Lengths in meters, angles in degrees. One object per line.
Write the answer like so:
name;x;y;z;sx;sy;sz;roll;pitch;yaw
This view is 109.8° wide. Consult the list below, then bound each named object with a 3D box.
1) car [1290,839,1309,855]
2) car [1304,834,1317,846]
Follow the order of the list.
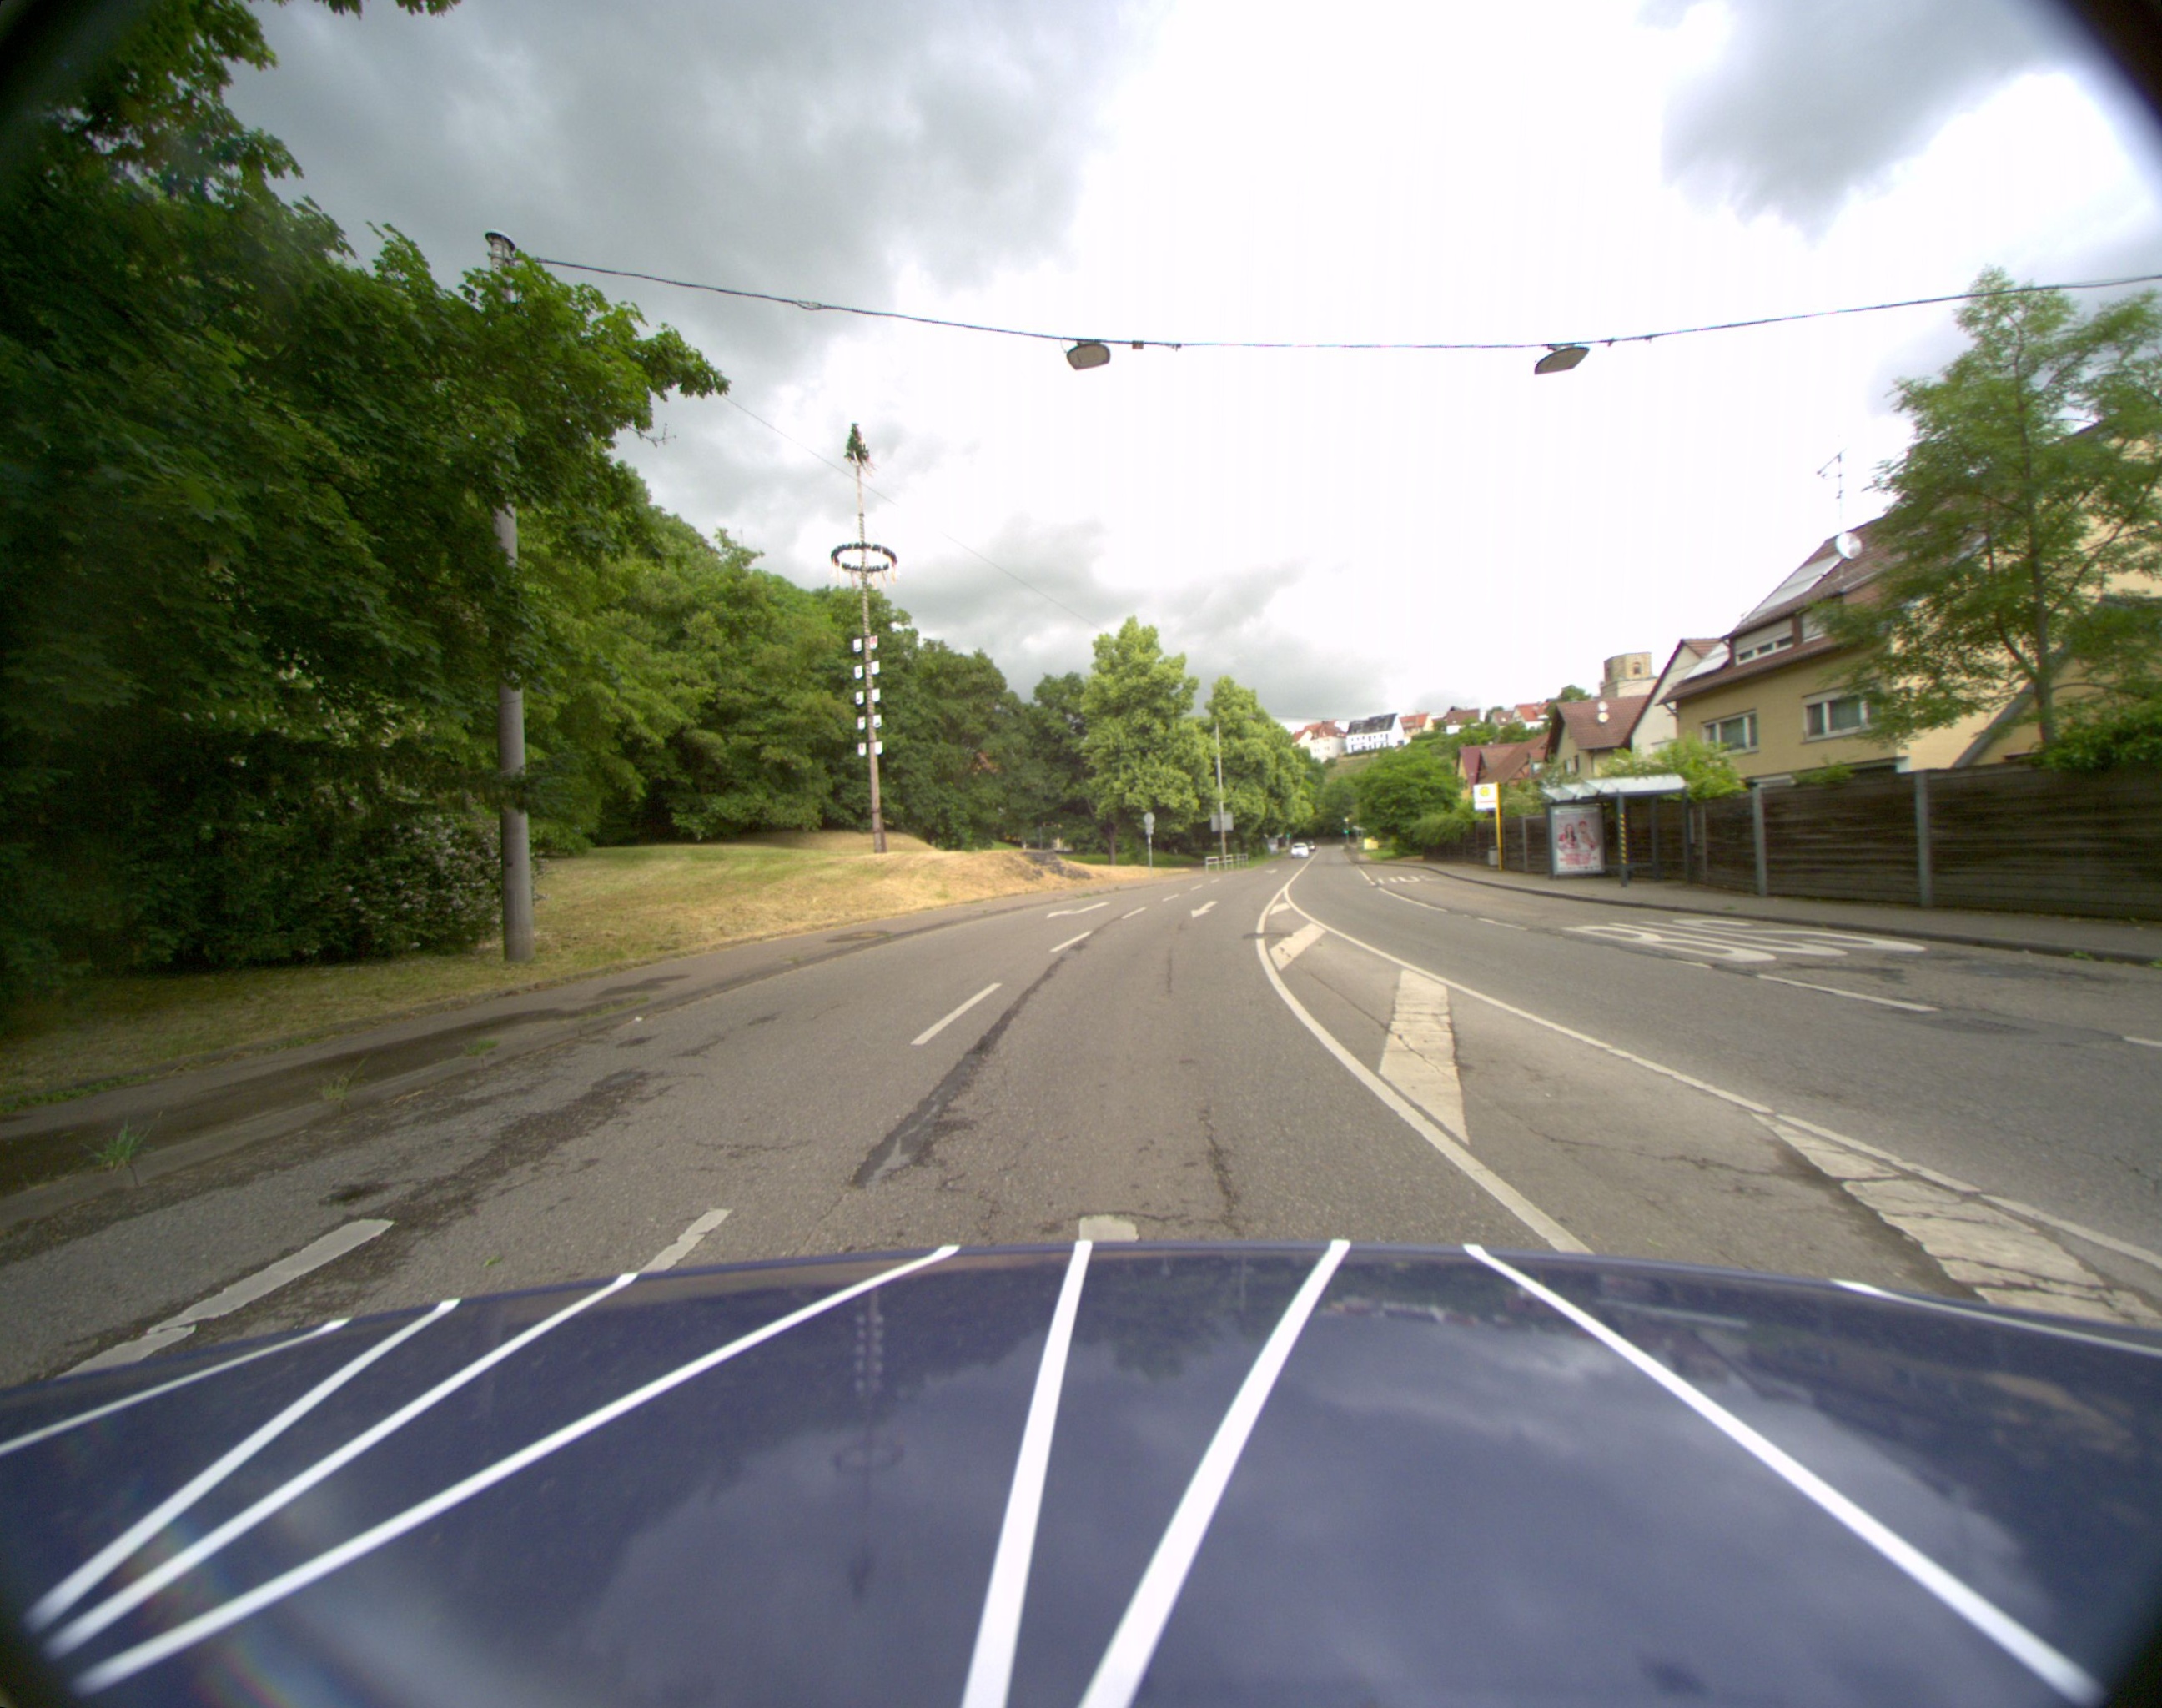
car;22.707;-0.747;78.876;1.761;1.516;3.687;-2;1;17
car;33.553;-2.021;111.030;1.761;1.575;3.687;-2;1;17
